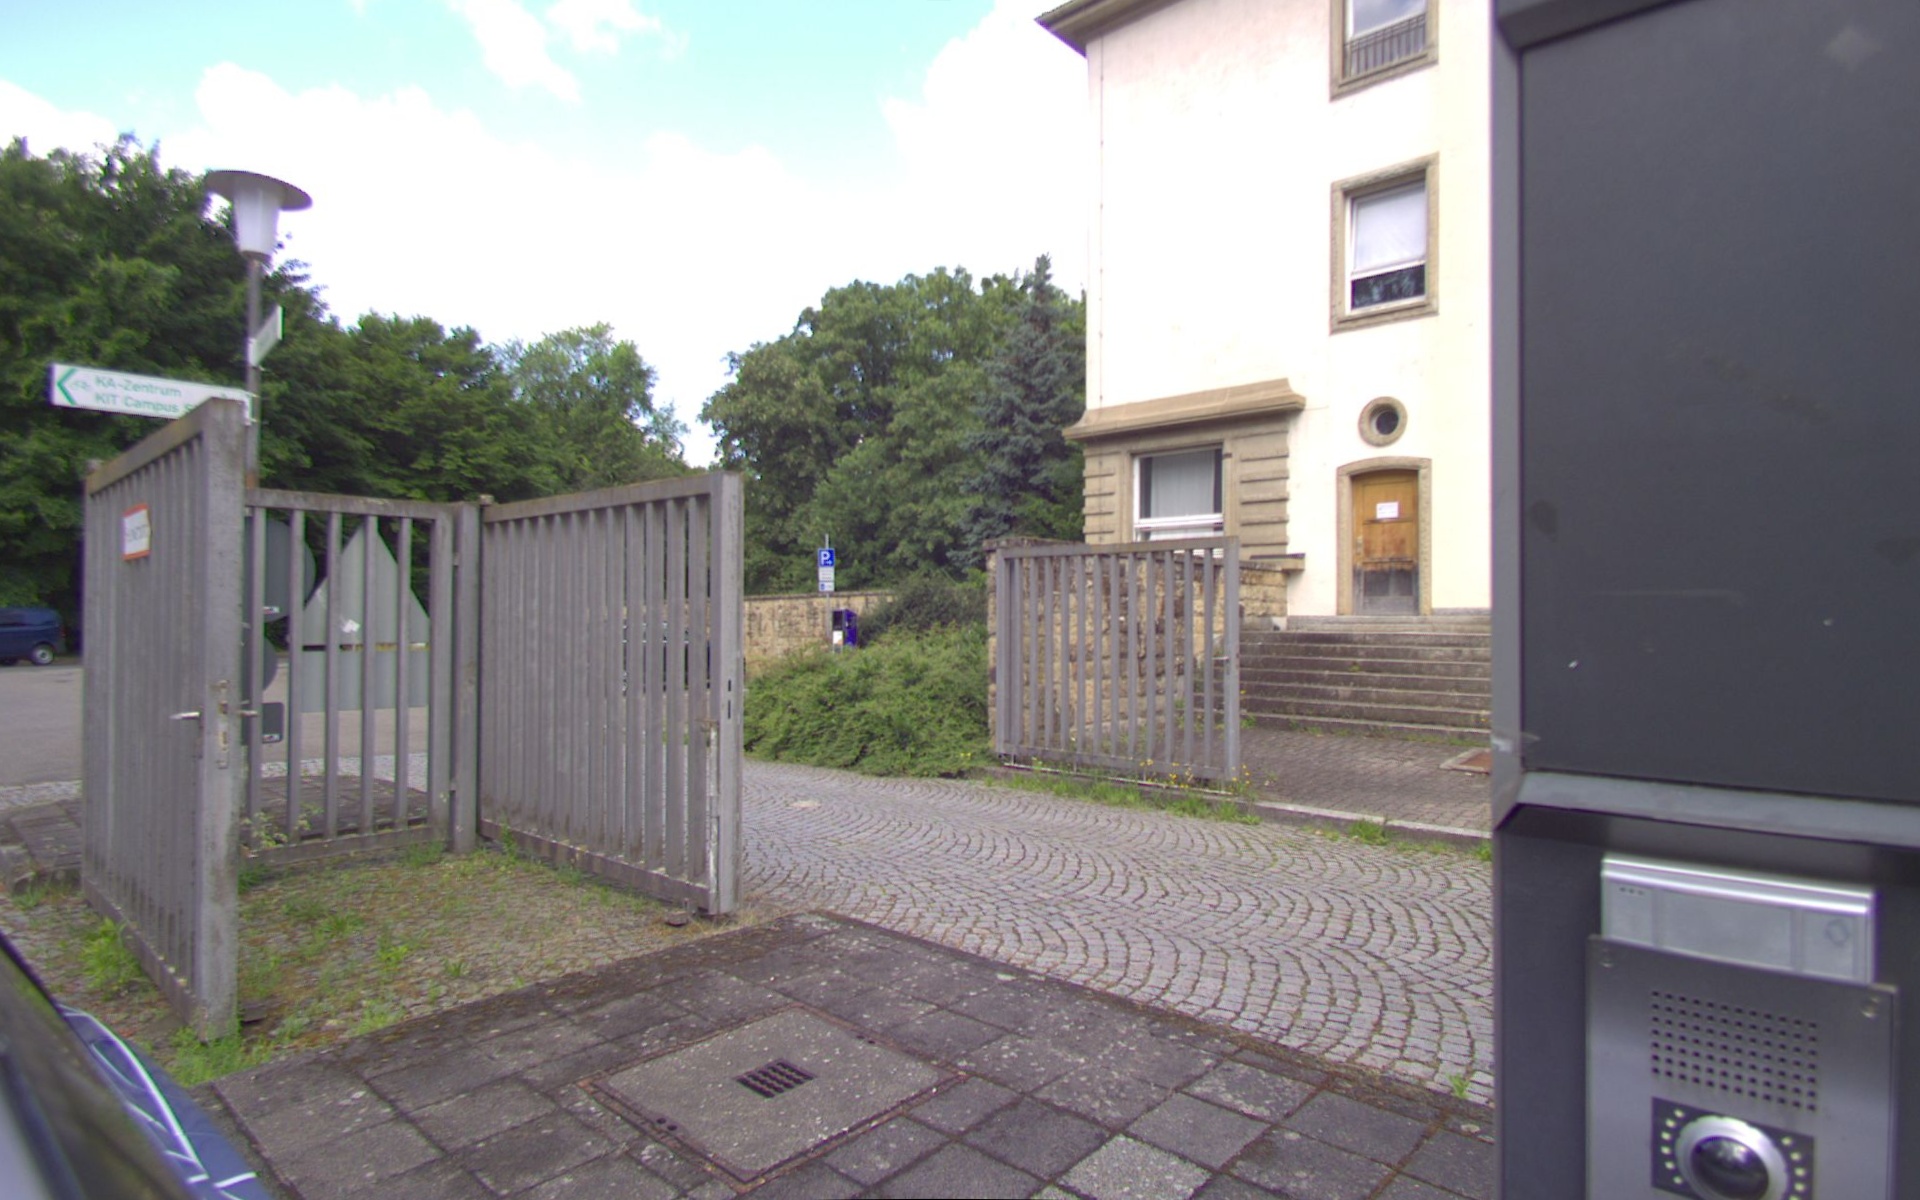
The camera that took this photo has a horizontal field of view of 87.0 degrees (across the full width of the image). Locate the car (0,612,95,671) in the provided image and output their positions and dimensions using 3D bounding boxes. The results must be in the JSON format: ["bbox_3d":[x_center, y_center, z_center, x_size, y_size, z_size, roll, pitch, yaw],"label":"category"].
[{"bbox_3d":[-31.119,1.294,31.773,1.982,1.850,5.916,0,-2,15],"label":"car"}]

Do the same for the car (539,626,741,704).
[{"bbox_3d":[-7.104,1.380,22.682,3.939,1.529,1.804,0,-1,-43],"label":"car"}]
